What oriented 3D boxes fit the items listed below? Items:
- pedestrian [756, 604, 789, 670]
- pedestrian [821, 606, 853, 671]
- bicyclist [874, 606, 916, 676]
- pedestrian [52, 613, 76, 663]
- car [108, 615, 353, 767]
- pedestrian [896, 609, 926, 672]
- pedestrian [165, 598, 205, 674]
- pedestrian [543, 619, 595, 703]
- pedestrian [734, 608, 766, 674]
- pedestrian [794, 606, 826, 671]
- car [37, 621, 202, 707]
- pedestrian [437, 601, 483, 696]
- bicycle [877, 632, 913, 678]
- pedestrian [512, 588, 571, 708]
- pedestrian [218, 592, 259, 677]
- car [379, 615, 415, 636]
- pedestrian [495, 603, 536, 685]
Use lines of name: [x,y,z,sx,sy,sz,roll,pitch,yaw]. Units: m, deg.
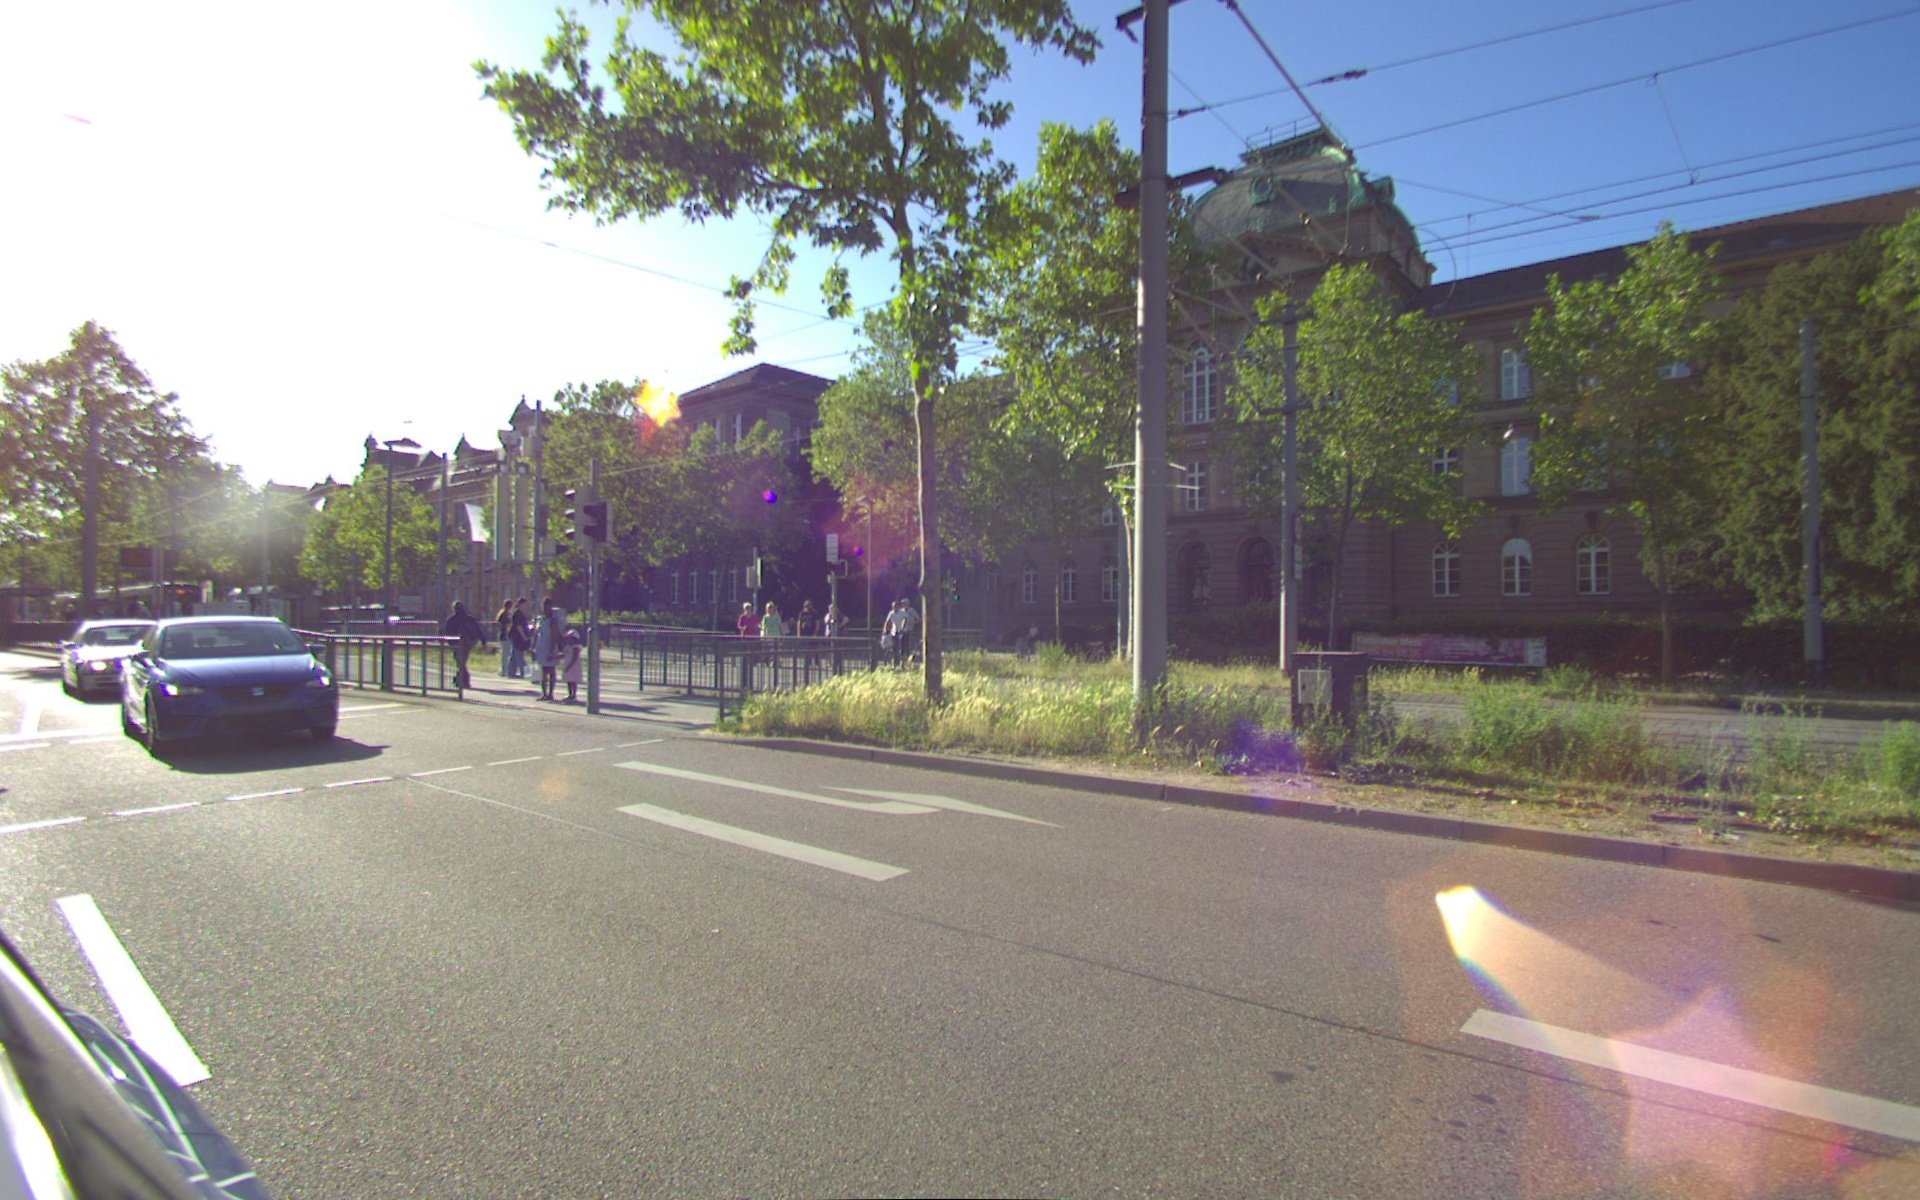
pedestrian: [-4.928,0.964,26.635,0.692,1.689,0.593,-1,0,8]
pedestrian: [-3.197,0.985,26.337,0.691,1.656,0.593,-1,0,4]
bicyclist: [-1.581,1.000,24.821,0.825,1.656,0.966,-1,0,7]
pedestrian: [-38.623,1.621,43.619,0.787,2.131,0.705,-1,0,45]
car: [-8.733,0.942,11.985,3.871,1.459,1.753,-1,0,45]
pedestrian: [-1.294,1.060,26.871,0.692,1.633,0.593,-1,0,8]
pedestrian: [-21.114,0.962,27.570,0.787,2.029,0.702,-1,0,42]
pedestrian: [-5.981,0.926,15.502,0.424,1.242,0.588,-1,0,30]
pedestrian: [-5.712,1.114,27.547,0.692,1.758,0.593,-1,0,8]
pedestrian: [-4.074,1.041,27.507,0.692,1.749,0.593,-1,0,8]
car: [-16.211,1.144,19.462,3.997,1.439,1.776,-1,0,40]
pedestrian: [-9.123,0.863,18.450,0.572,1.674,0.667,-1,0,-41]
bicycle: [-1.575,1.327,24.729,0.538,1.049,1.659,0,0,9]
pedestrian: [-6.496,0.723,15.720,0.502,1.820,0.640,-1,0,30]
pedestrian: [-19.031,0.892,26.704,0.773,2.204,0.803,-1,0,-29]
car: [-34.225,1.542,61.520,2.457,1.206,1.167,-1,0,41]
pedestrian: [-9.298,0.900,21.161,0.730,1.674,0.537,-1,0,45]
